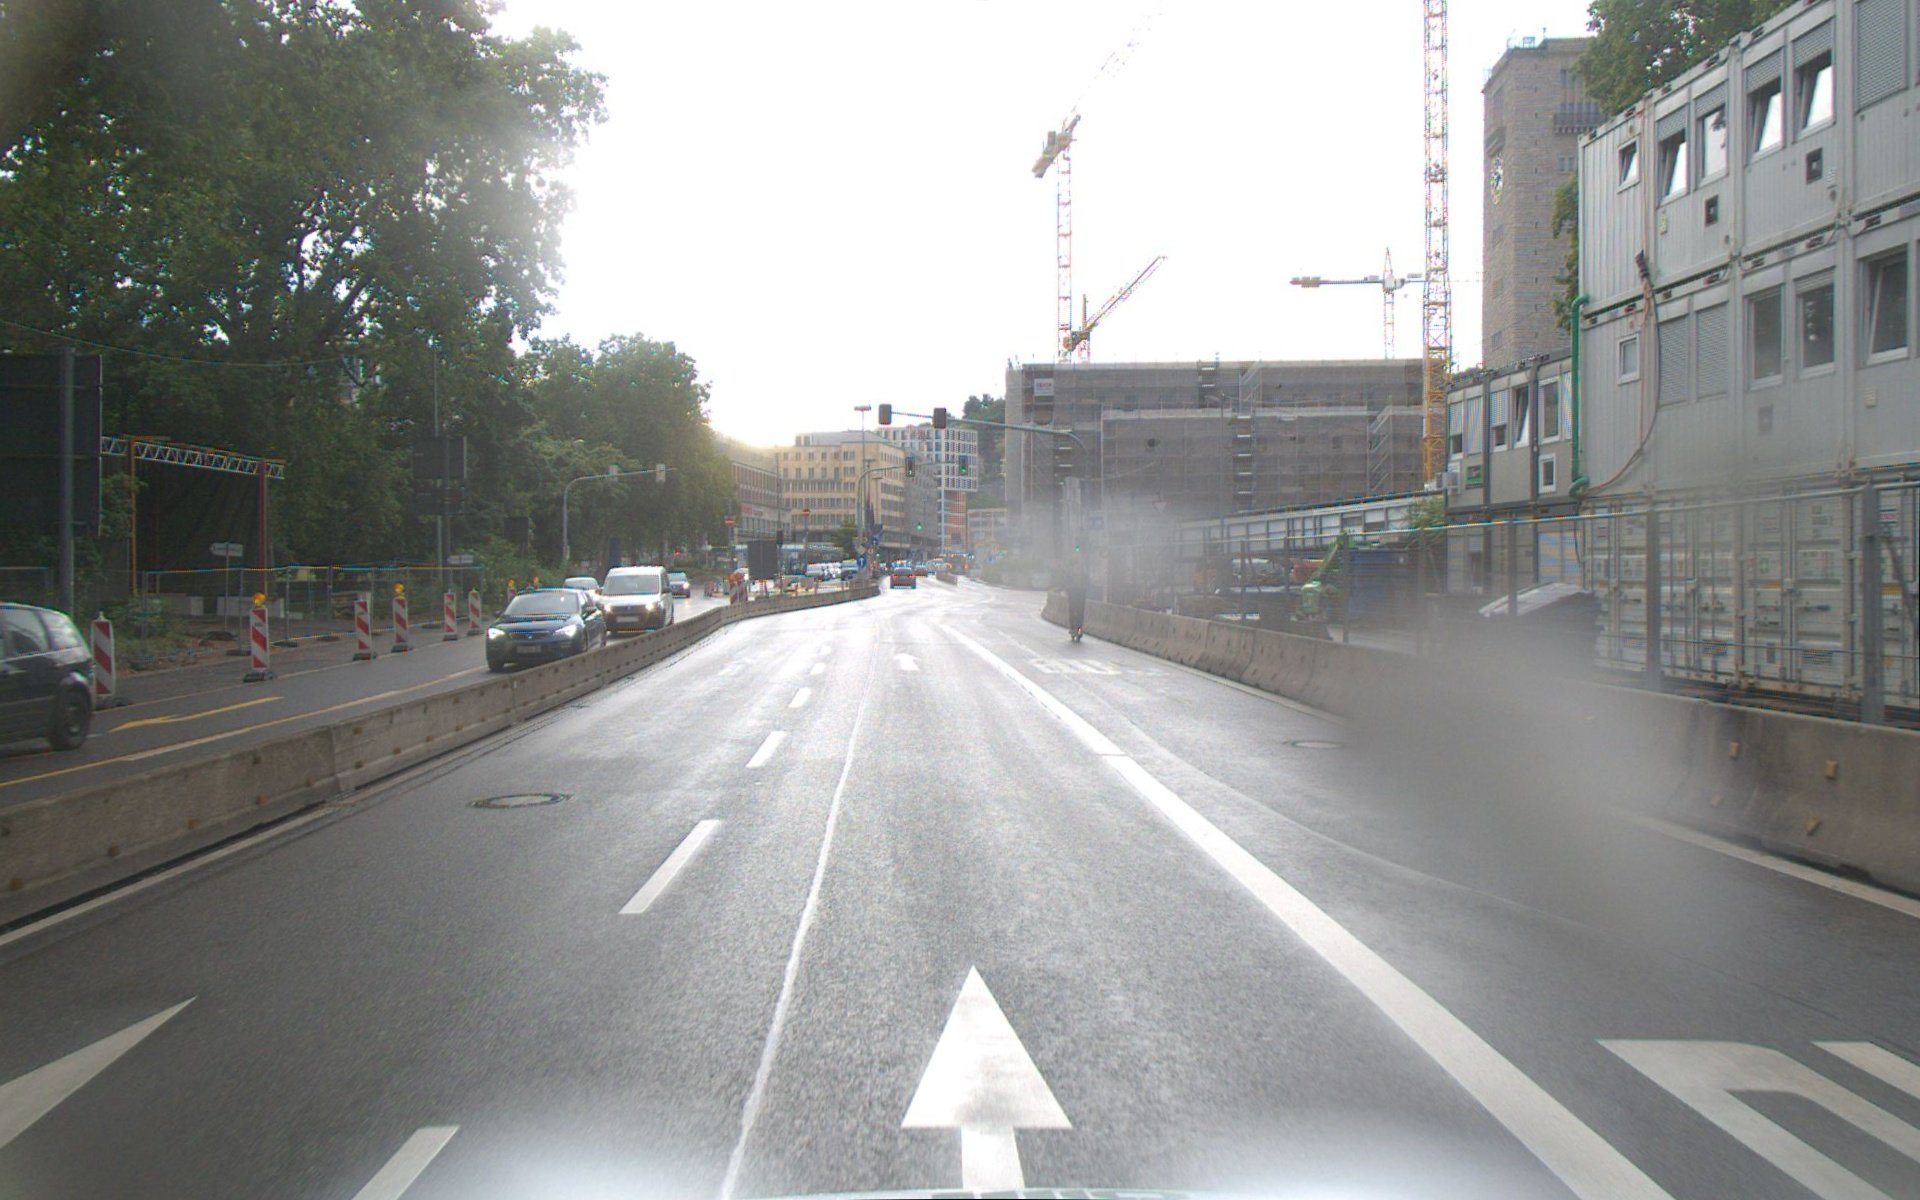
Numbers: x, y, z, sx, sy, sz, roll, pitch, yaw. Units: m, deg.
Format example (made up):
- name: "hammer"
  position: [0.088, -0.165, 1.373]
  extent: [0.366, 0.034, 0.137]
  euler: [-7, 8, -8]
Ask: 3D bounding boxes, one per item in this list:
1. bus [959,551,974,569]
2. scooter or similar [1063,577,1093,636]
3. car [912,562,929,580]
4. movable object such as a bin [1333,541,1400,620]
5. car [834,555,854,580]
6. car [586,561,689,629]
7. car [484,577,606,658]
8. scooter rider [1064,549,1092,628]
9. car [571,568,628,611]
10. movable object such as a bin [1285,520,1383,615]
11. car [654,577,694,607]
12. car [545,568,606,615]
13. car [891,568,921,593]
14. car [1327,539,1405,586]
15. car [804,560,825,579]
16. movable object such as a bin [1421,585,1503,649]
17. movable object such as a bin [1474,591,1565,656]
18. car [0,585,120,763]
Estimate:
- name: "bus"
  position: [0.928, -6.108, 251.219]
  extent: [1.952, 2.474, 4.001]
  euler: [-2, -1, 3]
- name: "scooter or similar"
  position: [2.742, 0.136, 38.458]
  extent: [0.585, 1.342, 1.667]
  euler: [0, 1, 0]
- name: "car"
  position: [-4.870, -3.566, 203.627]
  extent: [1.953, 2.049, 3.999]
  euler: [-2, -1, -1]
- name: "movable object such as a bin"
  position: [11.751, -0.590, 47.850]
  extent: [1.438, 2.241, 1.255]
  euler: [-1, 2, -26]
- name: "car"
  position: [-11.073, -3.099, 157.813]
  extent: [1.865, 2.119, 4.173]
  euler: [-2, -1, -4]
- name: "car"
  position: [-8.751, -0.145, 45.245]
  extent: [1.990, 1.682, 4.909]
  euler: [-2, 0, -3]
- name: "car"
  position: [-7.788, 0.307, 31.349]
  extent: [1.679, 1.362, 4.055]
  euler: [-3, 0, -7]
- name: "scooter rider"
  position: [2.734, -0.264, 38.436]
  extent: [0.585, 1.817, 0.997]
  euler: [0, 1, 0]
- name: "car"
  position: [-14.891, -0.410, 68.531]
  extent: [1.833, 1.568, 4.084]
  euler: [-2, -1, -6]
- name: "movable object such as a bin"
  position: [11.650, -1.060, 51.735]
  extent: [1.772, 2.858, 3.861]
  euler: [0, 2, -7]
- name: "car"
  position: [-16.789, -0.473, 97.295]
  extent: [1.955, 1.568, 4.573]
  euler: [-2, -1, -6]
- name: "car"
  position: [-15.551, -0.319, 67.049]
  extent: [1.839, 1.736, 3.994]
  euler: [-2, -1, -6]
- name: "car"
  position: [-3.790, -1.339, 115.297]
  extent: [1.865, 1.554, 4.173]
  euler: [-2, -1, -4]
- name: "car"
  position: [21.646, -1.983, 88.466]
  extent: [2.007, 2.353, 5.594]
  euler: [-2, 1, -9]
- name: "car"
  position: [-13.810, -2.877, 157.322]
  extent: [1.865, 1.554, 4.173]
  euler: [-2, -1, -4]
- name: "movable object such as a bin"
  position: [10.311, 0.355, 34.013]
  extent: [1.222, 1.258, 1.238]
  euler: [-2, -1, -3]
- name: "movable object such as a bin"
  position: [10.522, 0.442, 31.149]
  extent: [1.222, 1.142, 1.238]
  euler: [-2, -1, -3]
- name: "car"
  position: [-10.303, 0.756, 16.110]
  extent: [1.989, 1.682, 4.319]
  euler: [-1, 2, 0]
